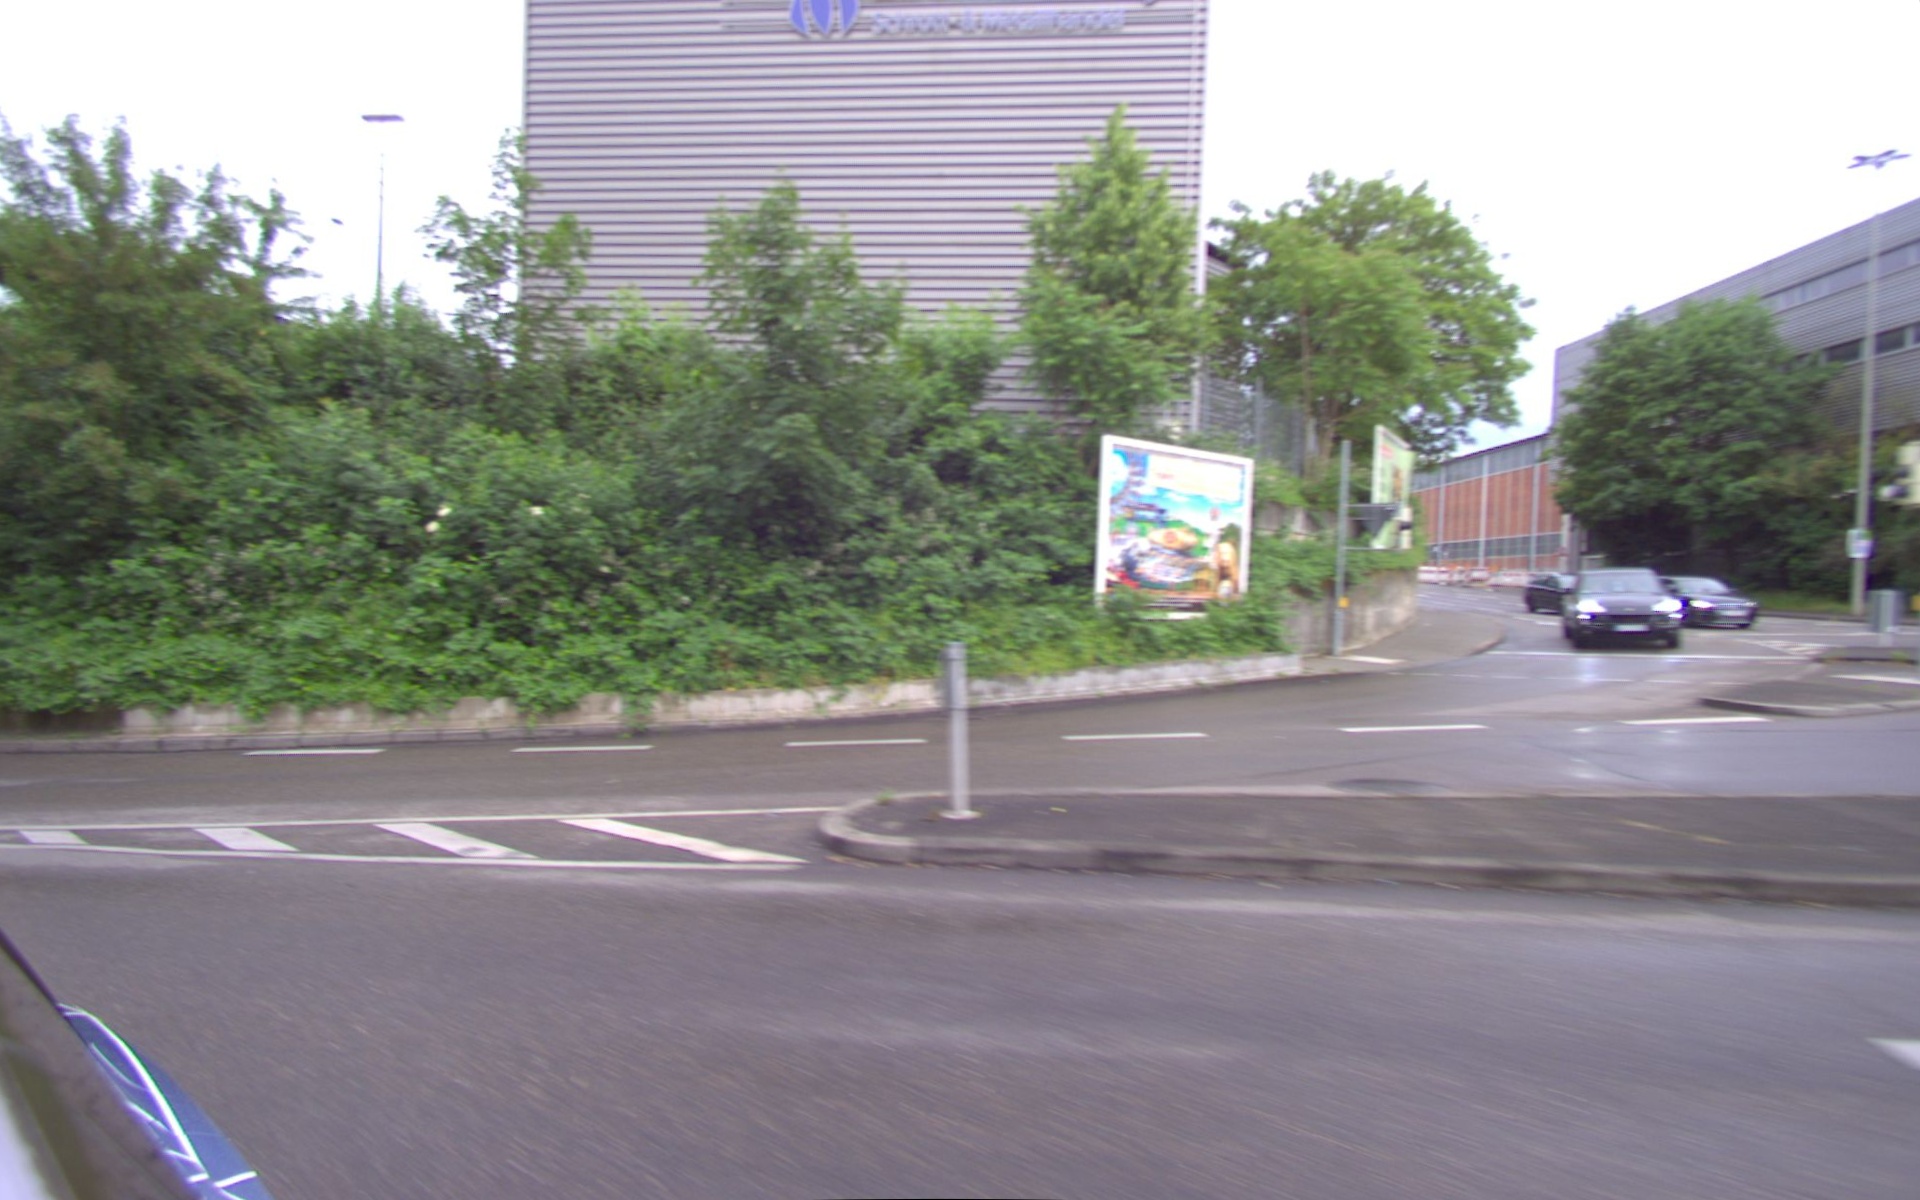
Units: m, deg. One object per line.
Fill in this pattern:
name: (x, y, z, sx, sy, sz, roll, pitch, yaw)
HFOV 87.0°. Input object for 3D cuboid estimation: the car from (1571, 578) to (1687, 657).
car: (14.729, 0.328, 22.459, 1.947, 1.555, 4.166, -1, 0, 32)

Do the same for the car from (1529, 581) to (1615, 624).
car: (21.449, 0.063, 35.598, 1.739, 1.380, 3.734, -1, 0, 18)

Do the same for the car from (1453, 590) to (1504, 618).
car: (28.311, 0.194, 55.398, 1.738, 1.380, 3.737, -1, 0, 16)

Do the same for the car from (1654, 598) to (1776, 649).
car: (21.040, 0.618, 28.363, 1.584, 1.269, 3.734, -1, 0, 18)
